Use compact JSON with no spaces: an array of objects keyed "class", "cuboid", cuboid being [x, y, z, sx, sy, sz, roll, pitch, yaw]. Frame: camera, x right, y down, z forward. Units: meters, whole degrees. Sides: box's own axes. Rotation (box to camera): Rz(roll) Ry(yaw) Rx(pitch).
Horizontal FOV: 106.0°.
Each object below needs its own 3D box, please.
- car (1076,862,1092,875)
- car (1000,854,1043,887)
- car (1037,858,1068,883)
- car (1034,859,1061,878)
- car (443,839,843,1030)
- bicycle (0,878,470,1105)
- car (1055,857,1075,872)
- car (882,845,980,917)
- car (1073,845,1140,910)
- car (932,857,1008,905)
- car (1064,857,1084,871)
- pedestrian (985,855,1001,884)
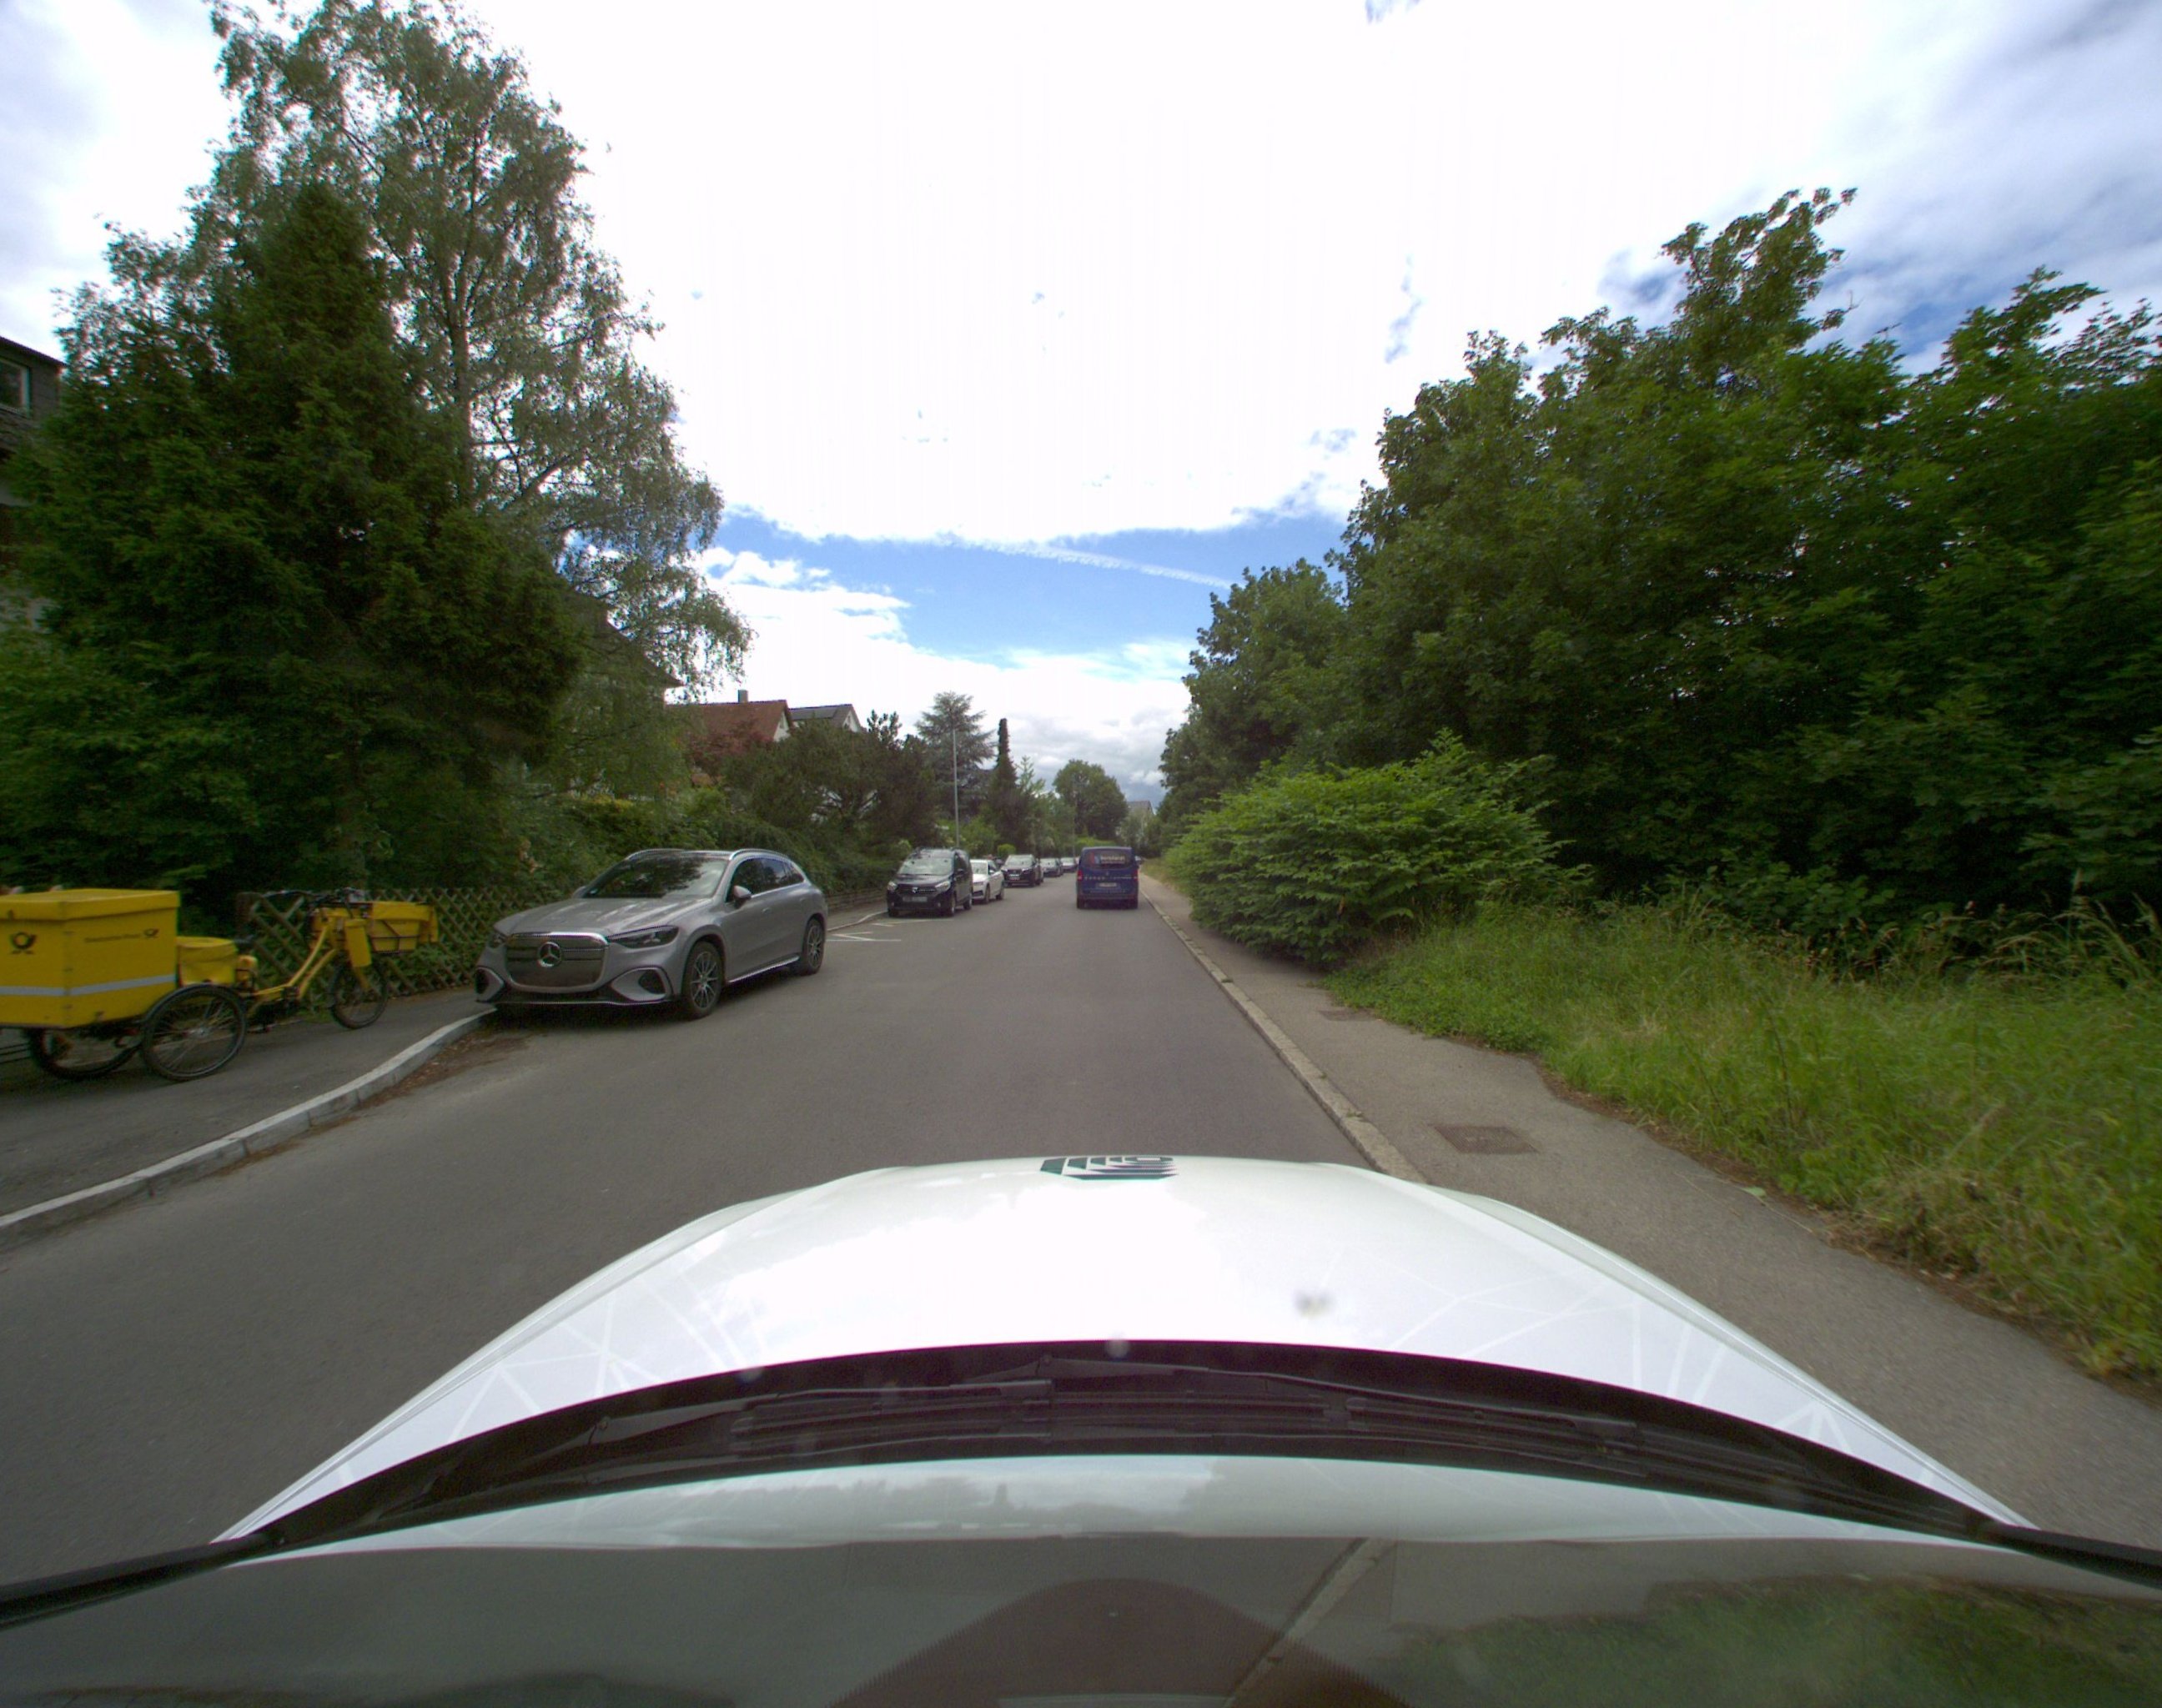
[{"class":"car","cuboid":[0.413,1.752,98.403,1.535,1.514,3.651,0,0,7]},{"class":"car","cuboid":[-3.121,0.857,43.456,1.785,1.664,4.393,0,0,2]},{"class":"car","cuboid":[-1.789,1.010,51.661,1.700,1.511,3.948,0,0,2]},{"class":"car","cuboid":[-2.544,1.118,62.679,1.700,1.416,4.151,0,0,2]},{"class":"car","cuboid":[-4.397,0.686,9.250,1.788,1.607,4.734,0,0,3]},{"class":"bicycle","cuboid":[-6.166,0.834,6.053,1.148,1.229,2.720,0,0,1]},{"class":"car","cuboid":[-1.509,1.026,79.762,1.700,1.410,4.162,0,0,2]},{"class":"car","cuboid":[-4.021,0.688,22.474,1.700,1.799,4.301,0,0,3]},{"class":"car","cuboid":[0.774,0.685,25.923,1.929,1.880,4.531,0,0,1]},{"class":"car","cuboid":[-3.744,0.881,28.194,1.699,1.511,4.559,0,0,4]},{"class":"car","cuboid":[-0.727,1.127,90.403,1.698,1.514,4.372,0,0,7]},{"class":"pedestrian","cuboid":[-4.777,0.820,44.187,0.766,1.574,0.821,0,-1,3]}]
